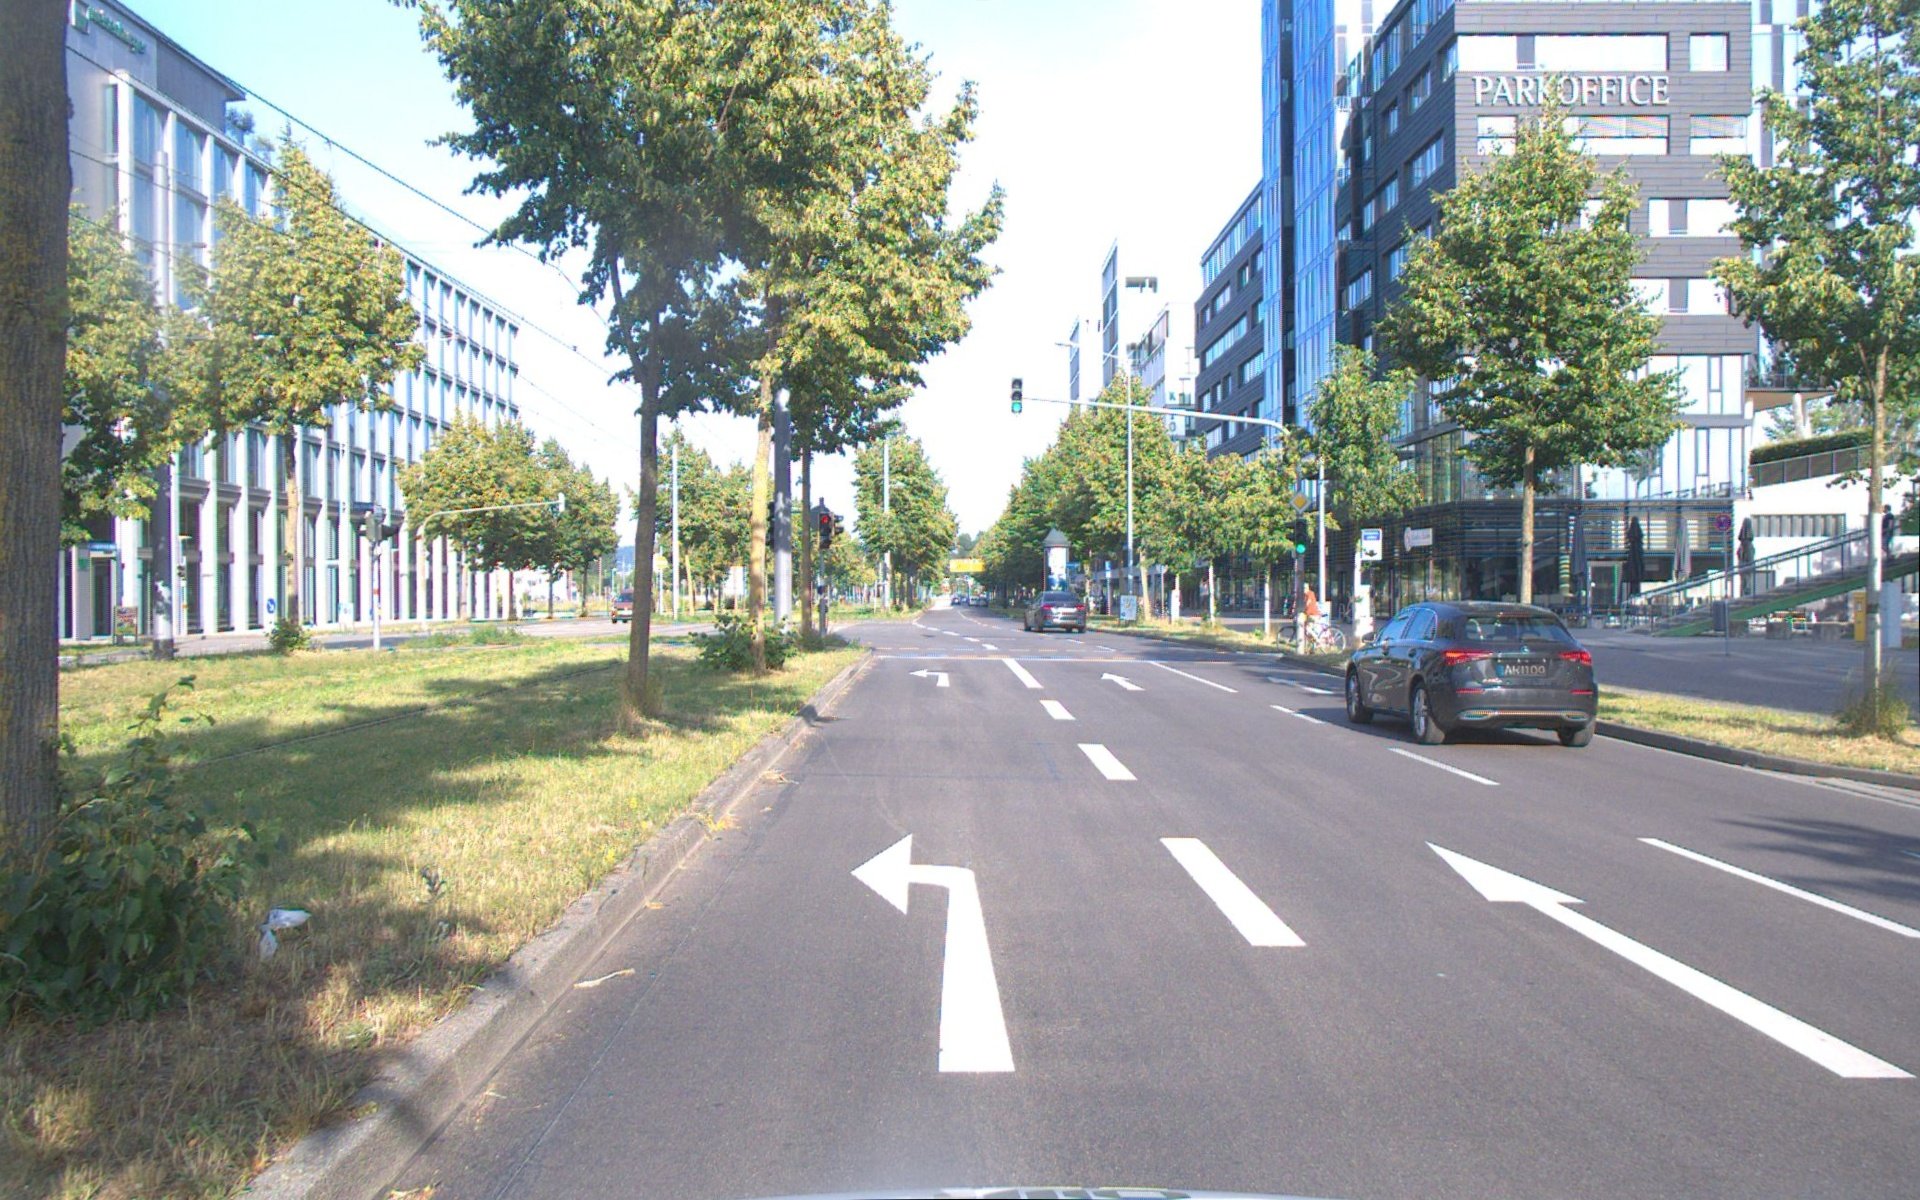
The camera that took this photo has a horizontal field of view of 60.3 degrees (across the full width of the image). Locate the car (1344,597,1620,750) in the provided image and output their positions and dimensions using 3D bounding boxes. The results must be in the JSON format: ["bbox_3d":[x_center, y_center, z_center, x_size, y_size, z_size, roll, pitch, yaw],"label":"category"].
[{"bbox_3d":[5.555,0.723,18.113,1.738,1.449,3.960,1,0,0],"label":"car"}]

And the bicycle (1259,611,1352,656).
[{"bbox_3d":[8.253,0.796,39.516,2.092,1.030,0.571,1,0,-5],"label":"bicycle"}]

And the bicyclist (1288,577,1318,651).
[{"bbox_3d":[8.190,0.333,39.502,0.563,1.737,0.540,1,-1,-5],"label":"bicyclist"}]

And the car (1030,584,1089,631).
[{"bbox_3d":[3.520,0.267,58.985,1.822,1.551,3.785,1,0,0],"label":"car"}]

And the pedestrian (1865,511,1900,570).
[{"bbox_3d":[27.652,-1.769,49.592,0.678,1.721,0.788,1,-1,12],"label":"pedestrian"}]

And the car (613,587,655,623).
[{"bbox_3d":[-17.090,0.266,86.929,1.651,1.806,3.879,1,0,-4],"label":"car"}]

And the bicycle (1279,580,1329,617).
[{"bbox_3d":[18.148,-0.092,87.351,2.510,1.890,0.570,1,-1,9],"label":"bicycle"}]

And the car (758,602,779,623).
[{"bbox_3d":[-19.262,1.209,166.511,1.743,2.049,3.999,1,0,-1],"label":"car"}]
